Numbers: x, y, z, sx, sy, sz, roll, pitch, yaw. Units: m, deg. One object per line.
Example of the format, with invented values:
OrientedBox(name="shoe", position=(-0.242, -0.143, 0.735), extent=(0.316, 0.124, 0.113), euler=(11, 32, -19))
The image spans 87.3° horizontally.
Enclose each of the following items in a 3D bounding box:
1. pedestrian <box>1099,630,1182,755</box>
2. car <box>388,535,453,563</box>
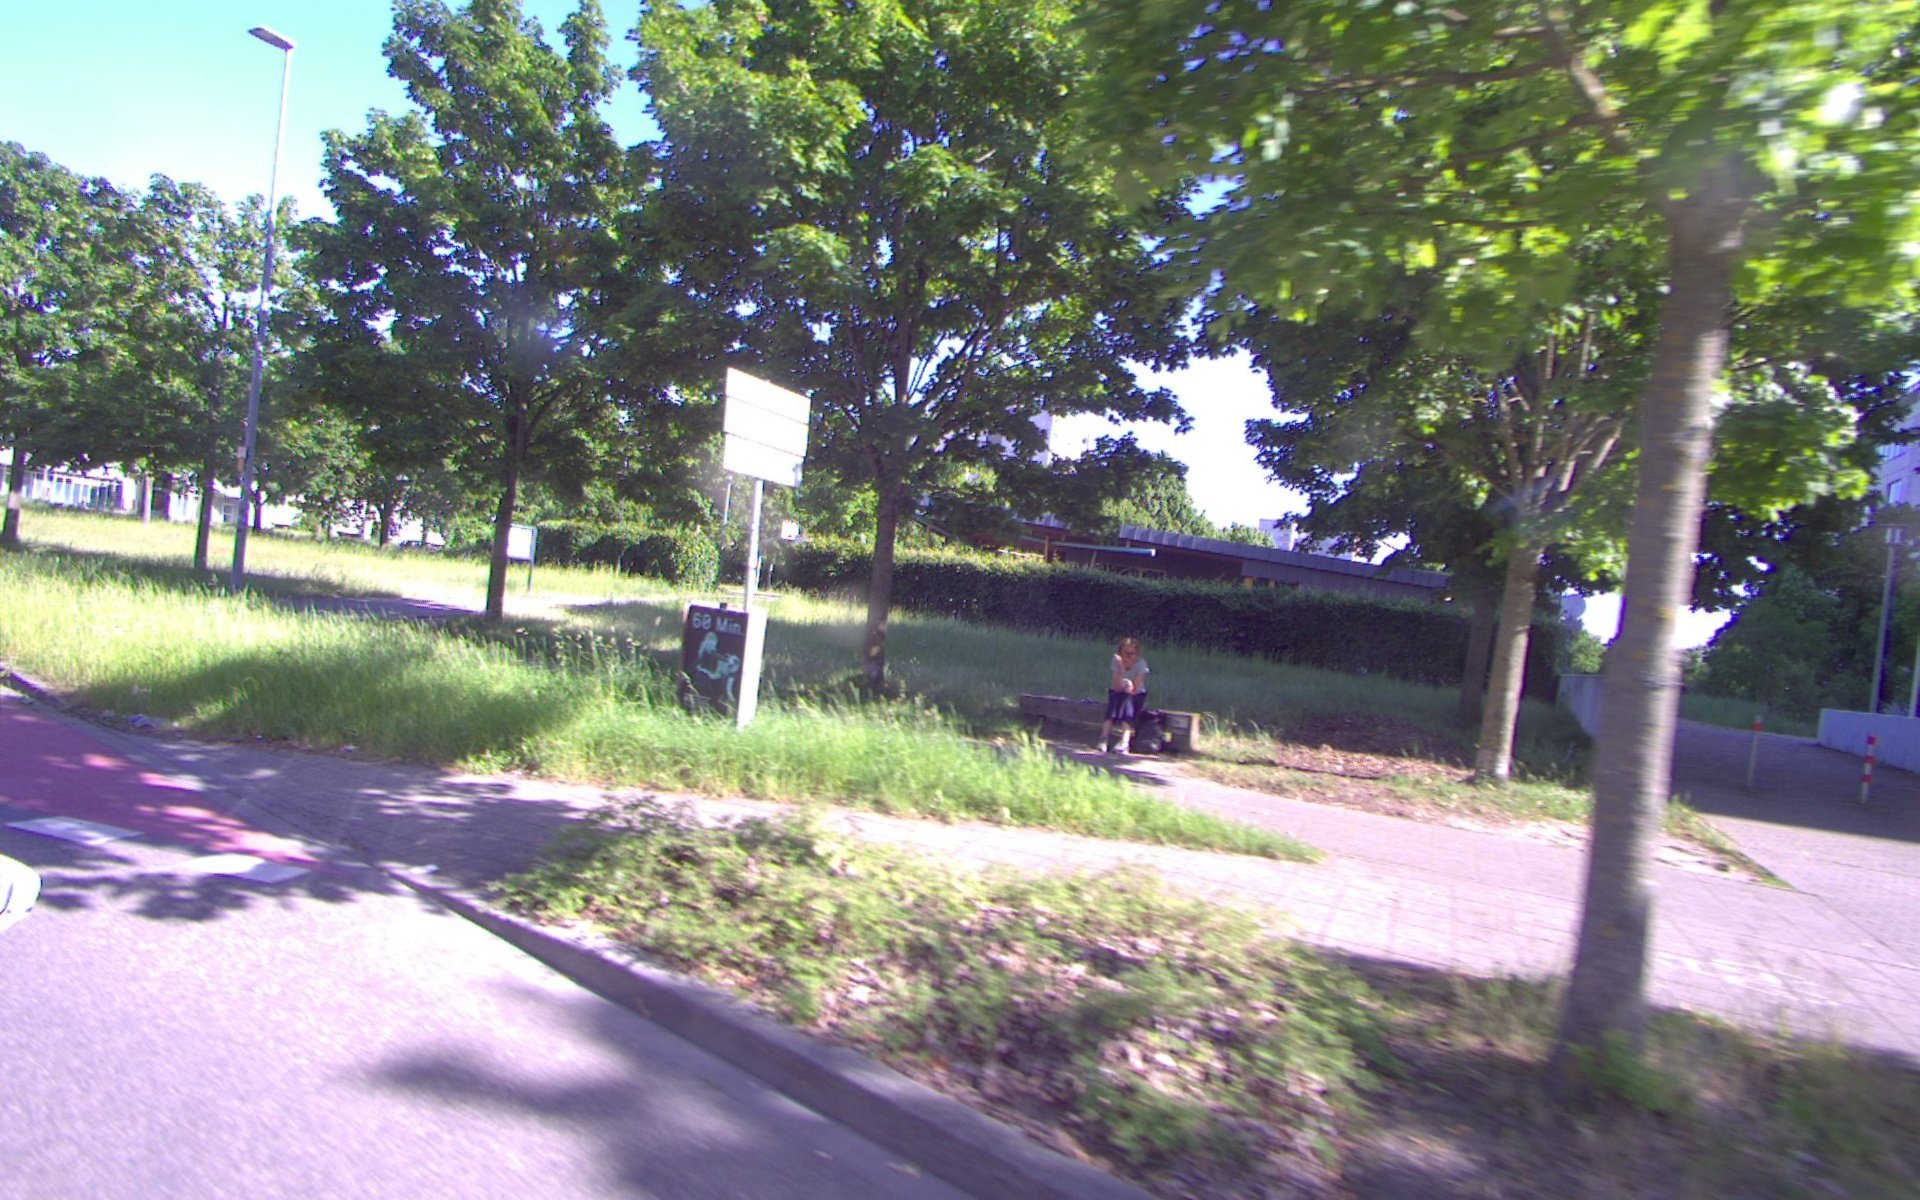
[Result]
OrientedBox(name="pedestrian", position=(1.997, 0.987, 11.075), extent=(0.715, 1.233, 0.847), euler=(7, 2, 14))
OrientedBox(name="car", position=(-39.967, -3.752, 74.553), extent=(1.646, 1.620, 3.960), euler=(7, 1, 24))
